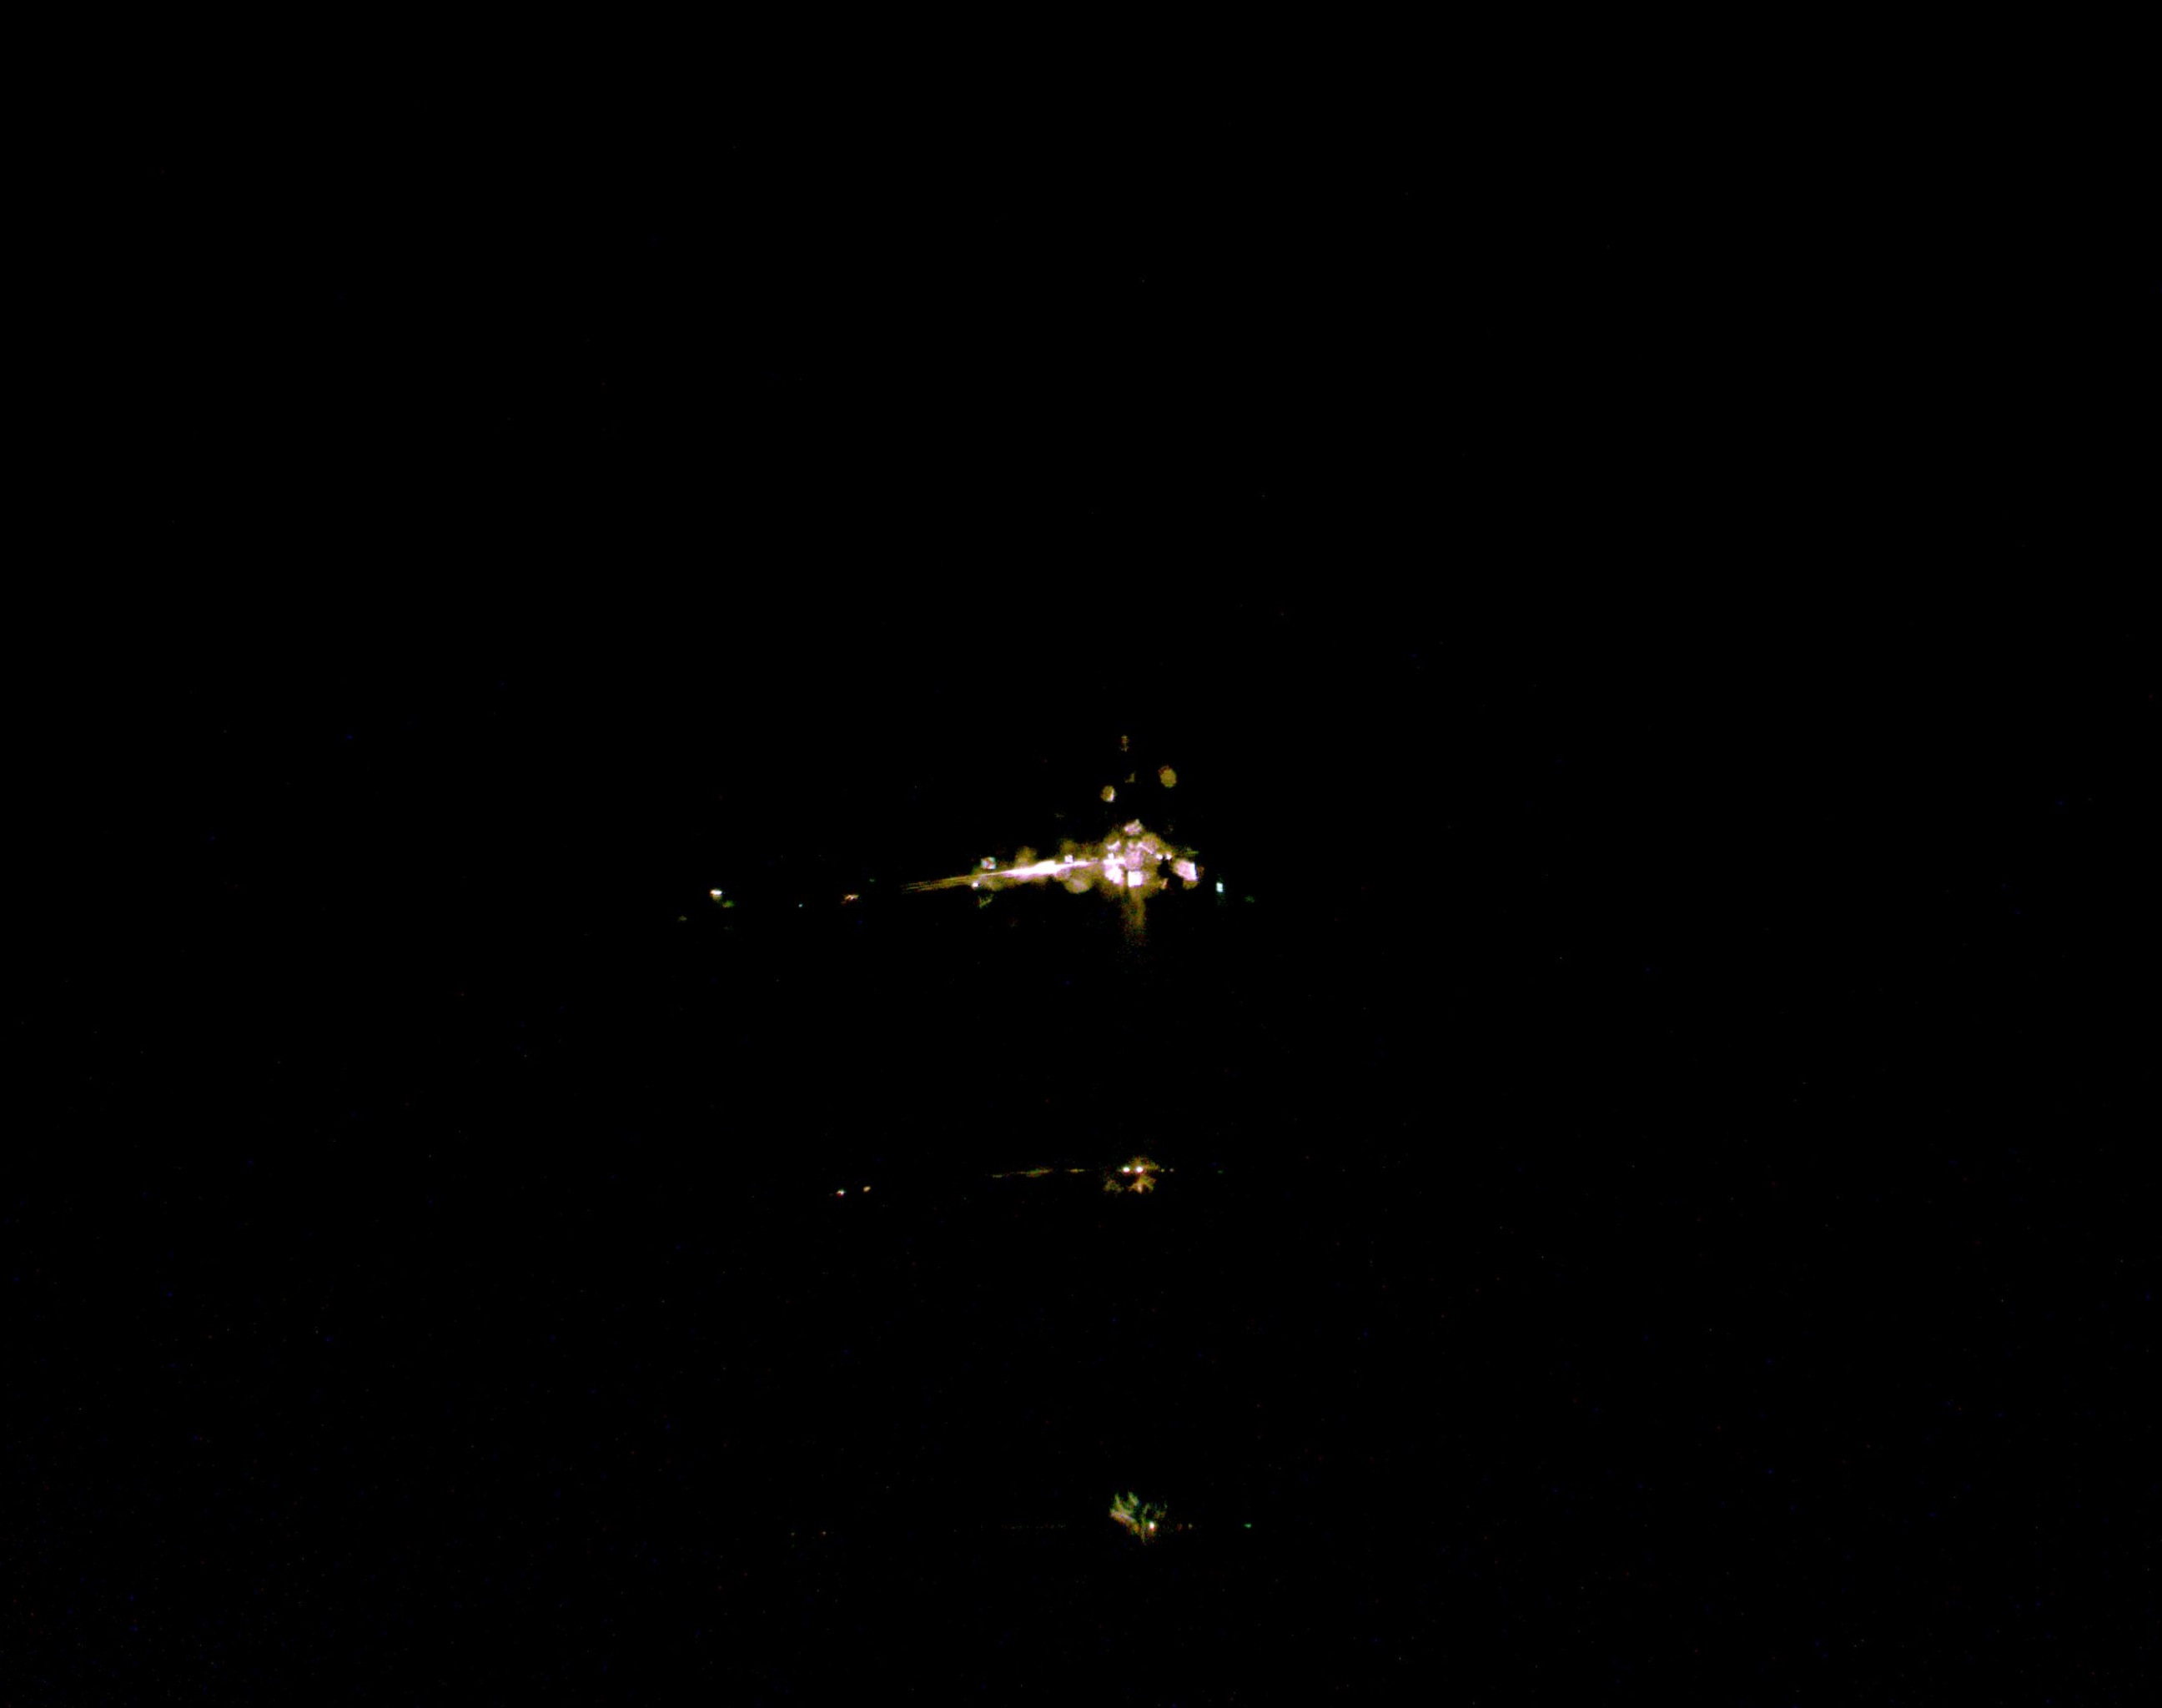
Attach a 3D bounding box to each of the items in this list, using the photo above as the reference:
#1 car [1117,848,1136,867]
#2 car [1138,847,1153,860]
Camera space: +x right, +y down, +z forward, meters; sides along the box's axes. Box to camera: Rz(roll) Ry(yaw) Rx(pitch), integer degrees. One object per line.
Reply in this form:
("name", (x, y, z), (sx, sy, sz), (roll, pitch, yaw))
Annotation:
("car", (4.613, 0.373, 81.996), (1.749, 1.868, 4.004), (-1, 0, 4))
("car", (9.451, -0.022, 119.361), (1.984, 1.655, 4.006), (-5, 1, 5))
